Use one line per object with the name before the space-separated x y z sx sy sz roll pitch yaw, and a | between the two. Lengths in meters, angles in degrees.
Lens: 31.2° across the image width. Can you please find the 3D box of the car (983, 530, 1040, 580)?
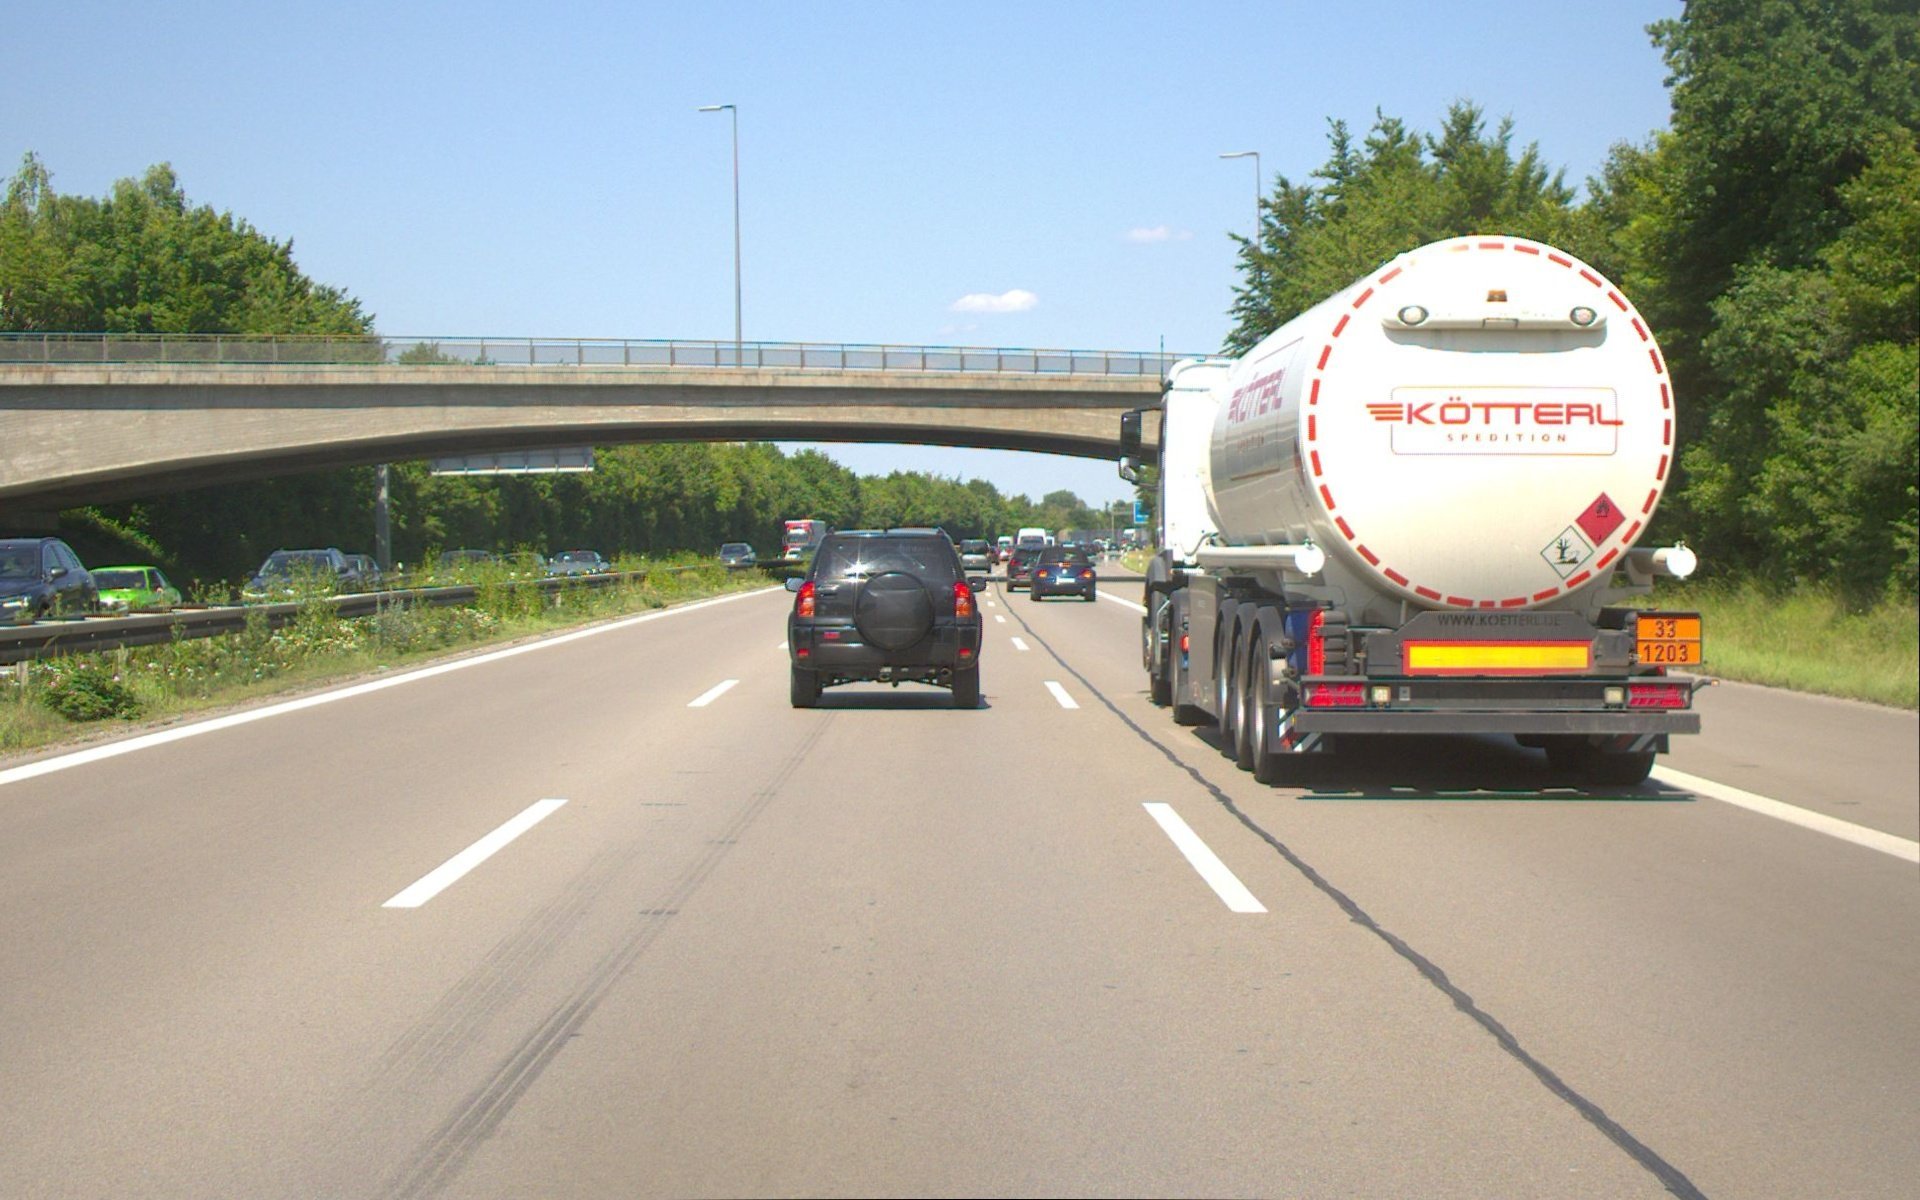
car | 1.686 -1.468 113.696 1.842 1.606 4.000 0 0 1

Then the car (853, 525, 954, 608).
car | -1.252 -0.740 74.403 1.993 1.700 4.336 -1 1 -3

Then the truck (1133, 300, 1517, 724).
truck | 3.084 -0.755 30.735 2.638 3.363 6.488 1 1 -1

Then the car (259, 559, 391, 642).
car | -12.986 -0.019 70.568 1.915 1.596 4.435 -1 1 -1

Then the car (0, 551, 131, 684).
car | -12.583 0.199 46.392 1.872 1.687 4.000 0 1 -1

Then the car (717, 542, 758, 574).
car | -11.832 -2.230 182.633 1.797 1.661 4.128 -1 1 1

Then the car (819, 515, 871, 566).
car | -4.645 -2.392 139.139 1.993 2.007 4.950 -1 1 -1

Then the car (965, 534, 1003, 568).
car | 1.292 -2.657 185.508 1.993 1.744 4.205 -1 1 -1

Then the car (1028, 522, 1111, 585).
car | 2.986 -1.256 94.549 1.993 1.678 4.000 0 0 -2

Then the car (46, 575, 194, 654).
car | -16.556 0.258 67.970 1.744 1.422 4.804 -1 1 0

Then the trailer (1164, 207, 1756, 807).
trailer | 3.168 -0.619 25.091 2.648 3.378 11.152 1 1 0

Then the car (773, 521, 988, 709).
car | -0.764 0.102 32.673 1.906 1.659 4.000 0 1 -2
